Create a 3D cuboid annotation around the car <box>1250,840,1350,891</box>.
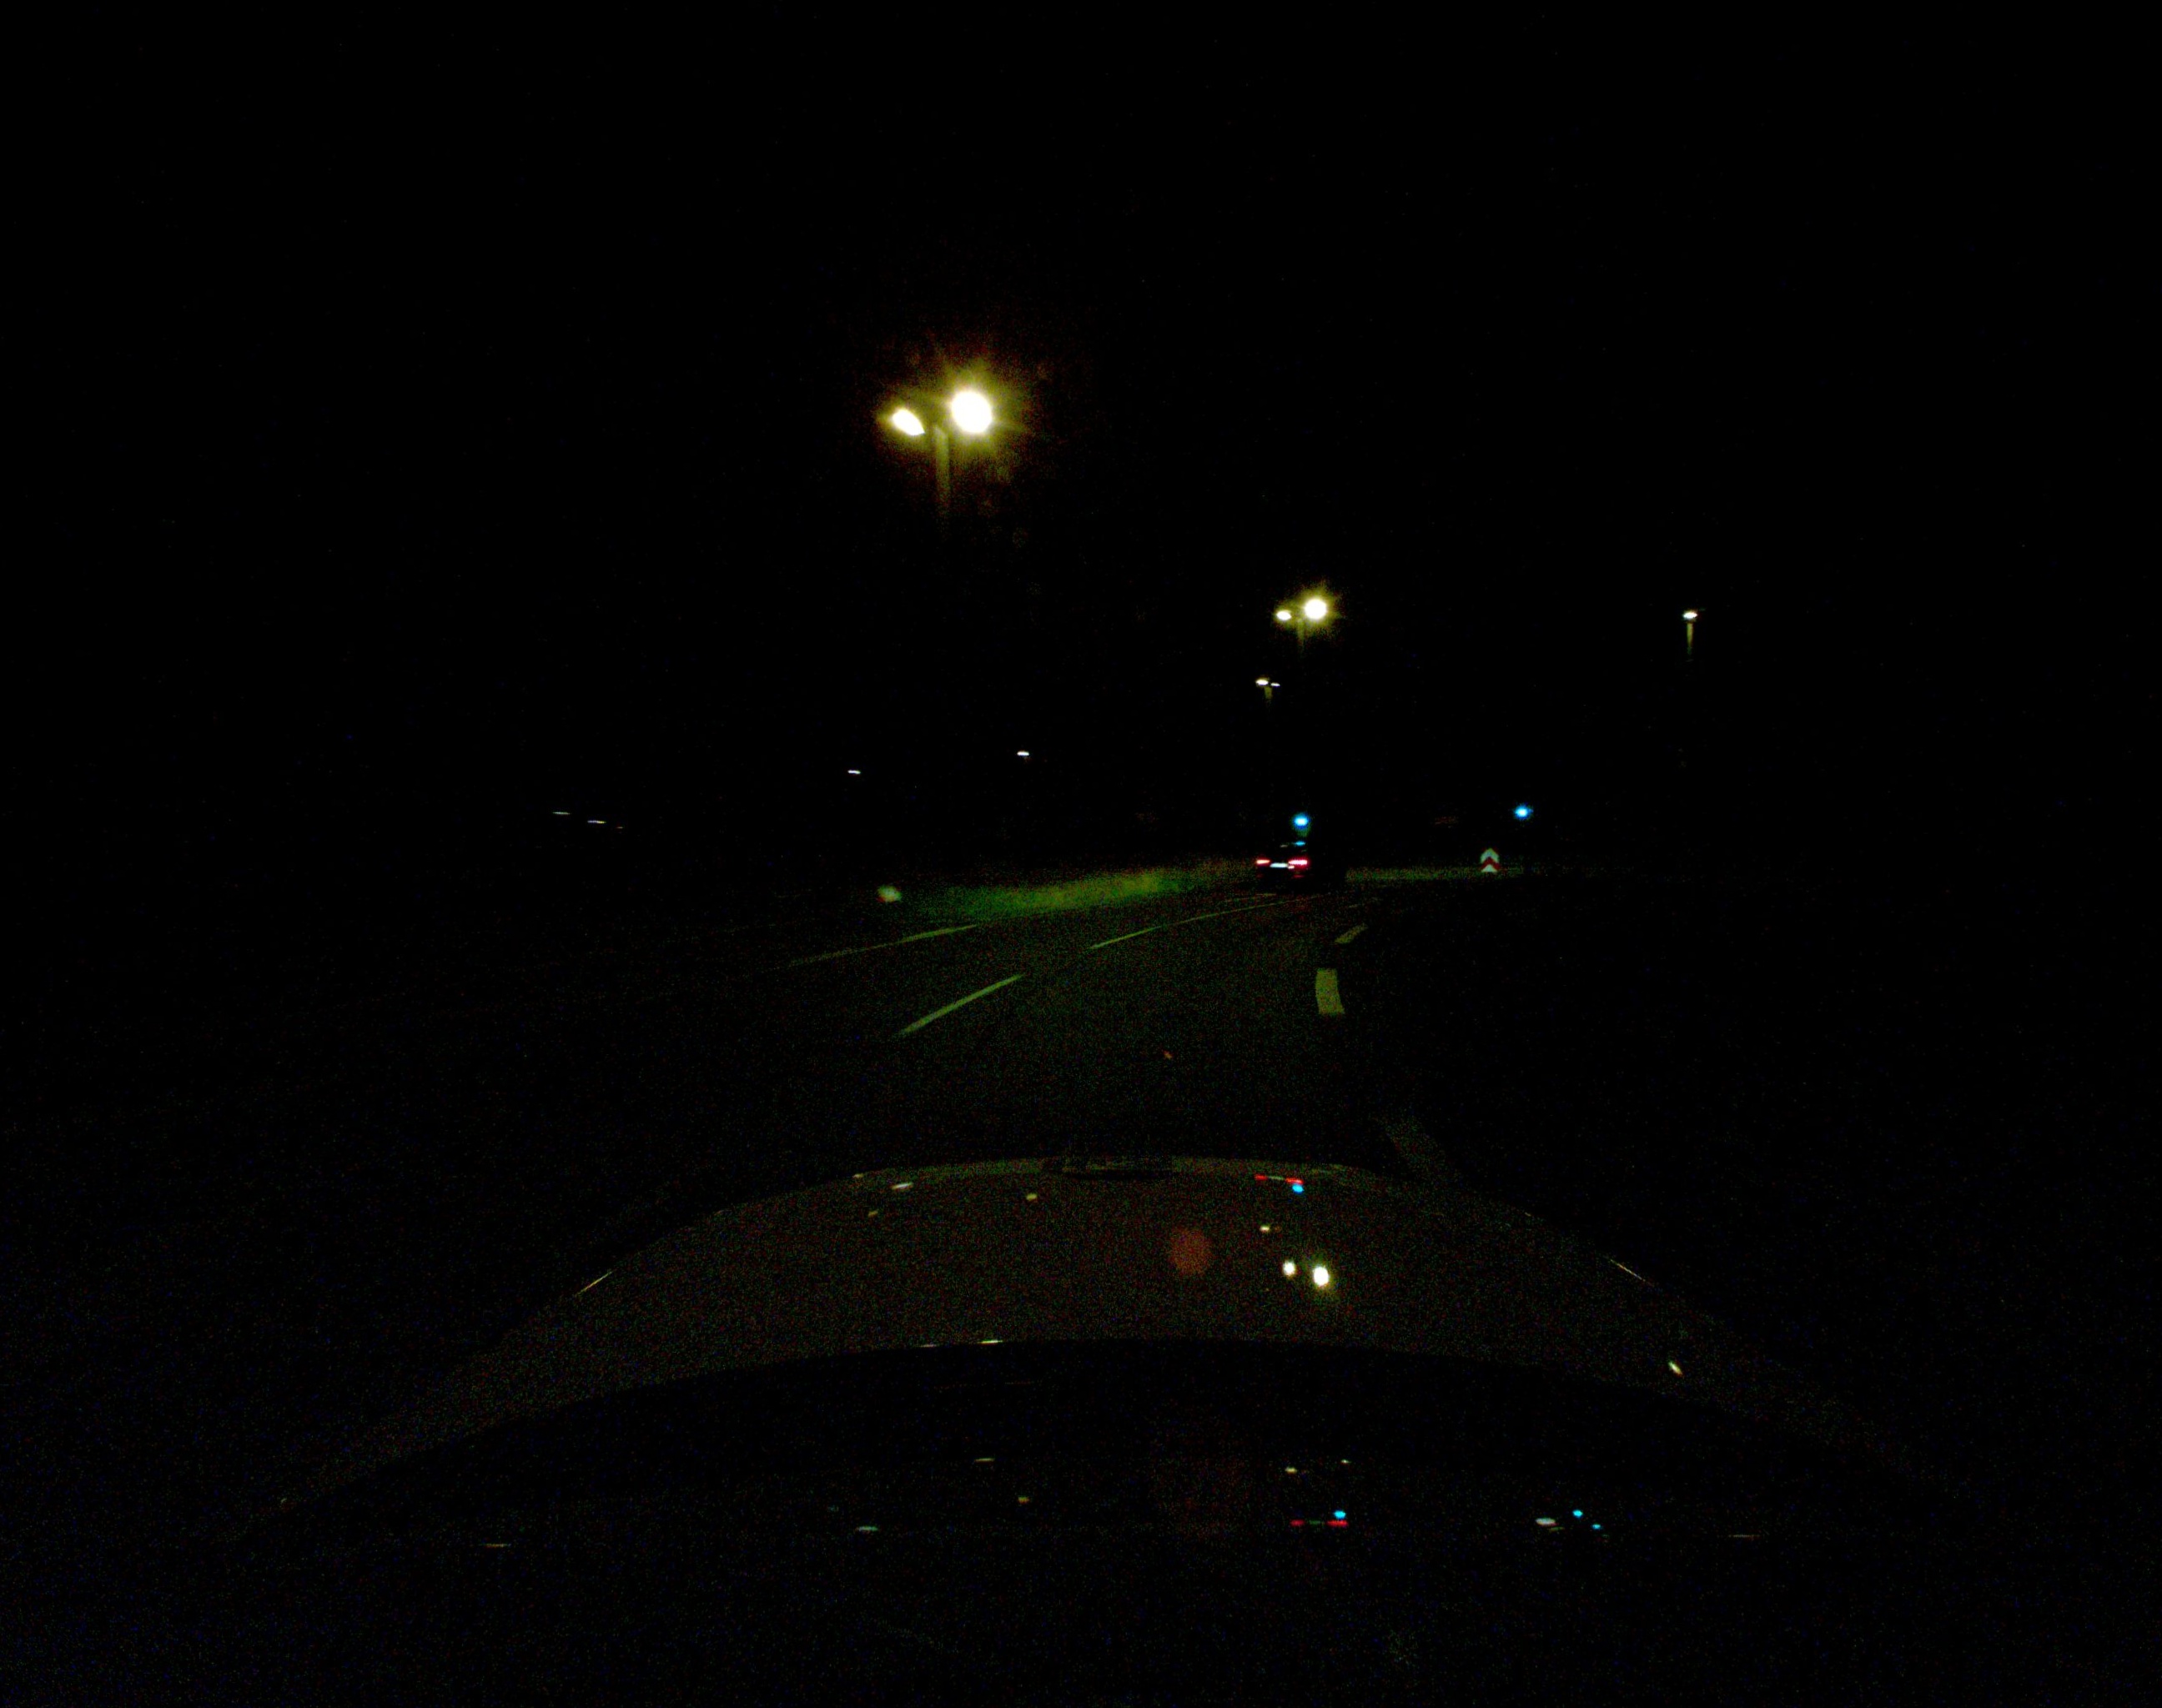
[{"bbox_3d":[7.516,0.328,27.696,1.834,1.582,4.032,1,1,38],"label":"car"}]
